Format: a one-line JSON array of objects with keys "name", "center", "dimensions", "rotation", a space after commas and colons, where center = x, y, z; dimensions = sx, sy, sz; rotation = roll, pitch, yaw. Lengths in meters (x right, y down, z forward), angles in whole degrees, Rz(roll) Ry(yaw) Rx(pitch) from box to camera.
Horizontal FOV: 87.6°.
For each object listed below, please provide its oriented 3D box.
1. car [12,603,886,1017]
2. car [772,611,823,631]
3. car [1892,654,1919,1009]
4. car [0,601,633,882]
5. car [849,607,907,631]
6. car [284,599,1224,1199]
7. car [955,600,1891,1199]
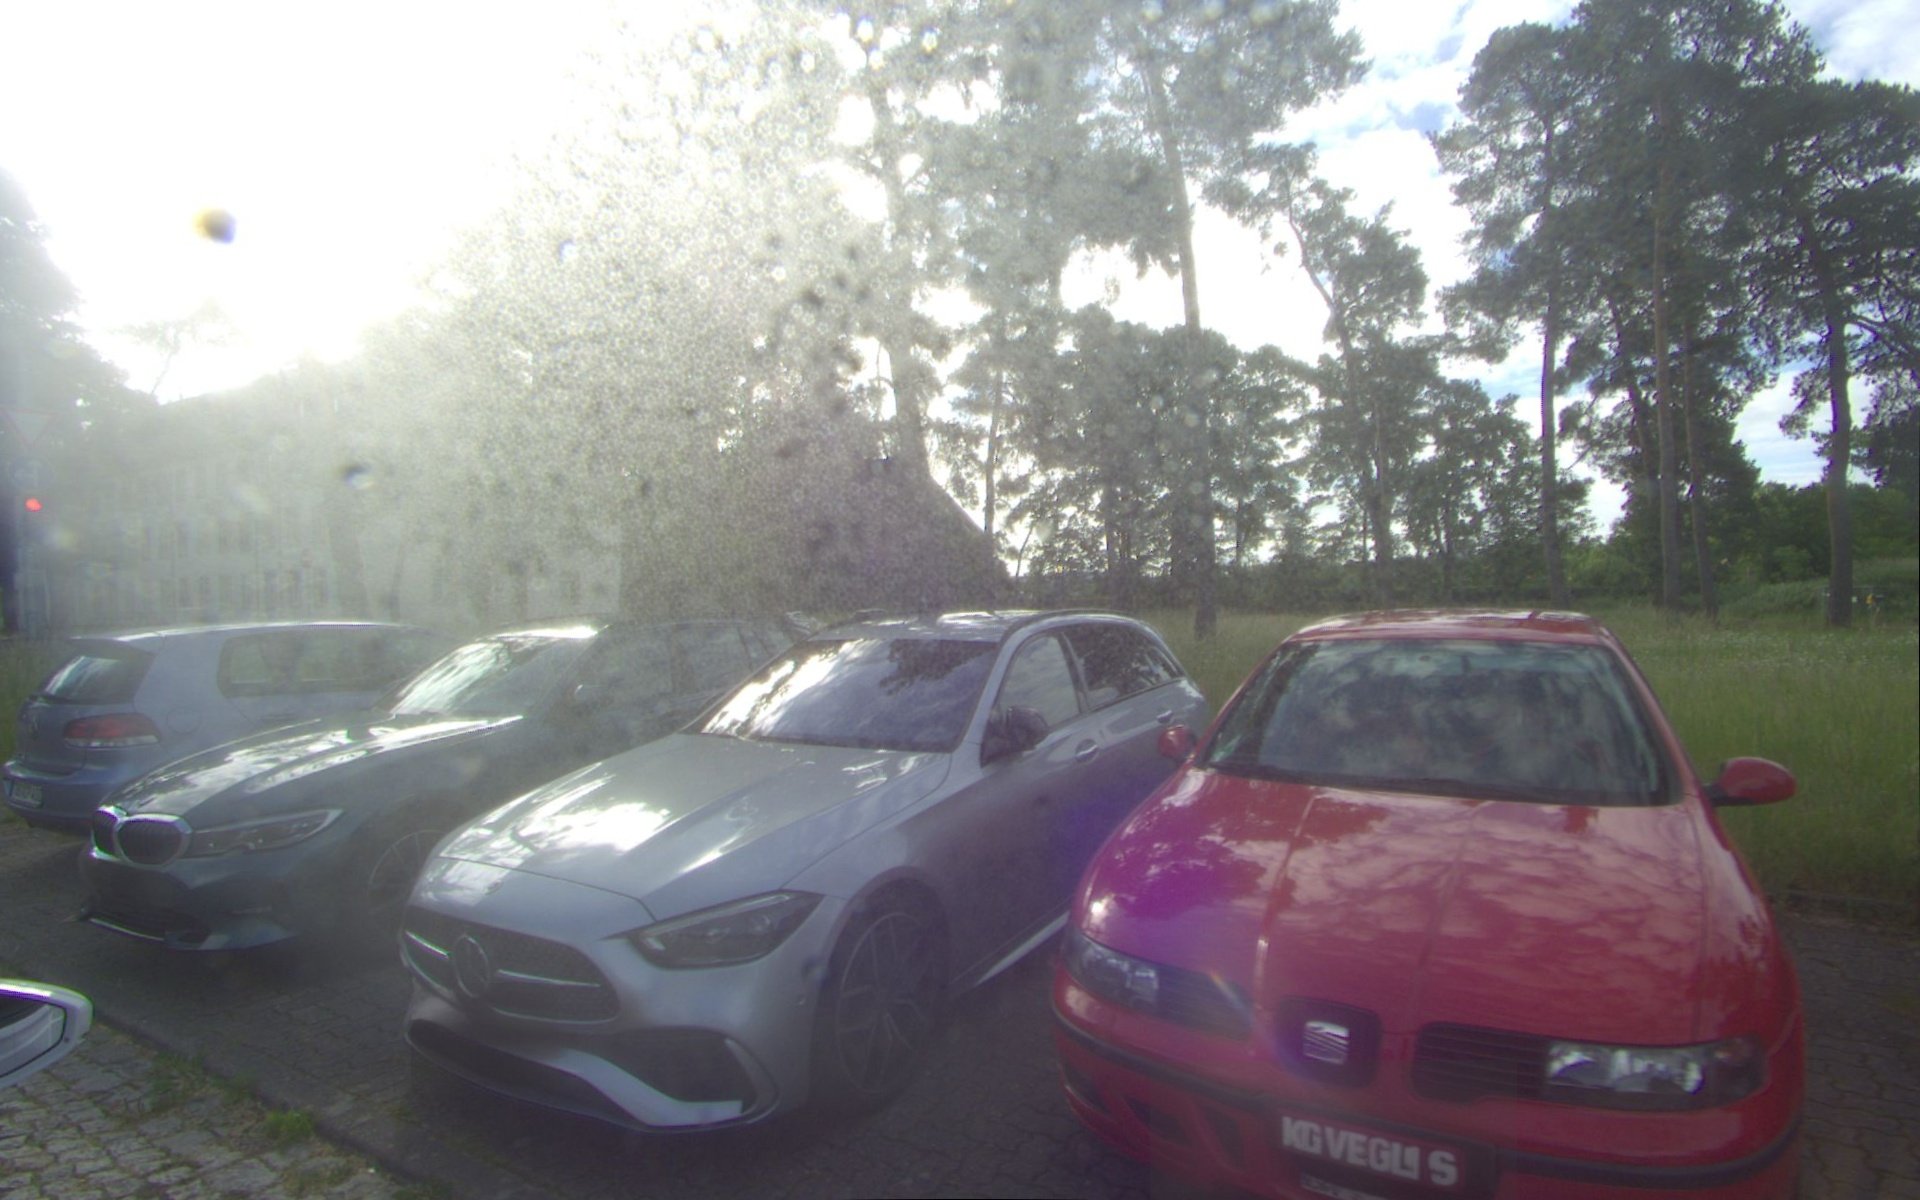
[{"name": "car", "center": [-2.440, 0.792, 6.089], "dimensions": [1.780, 1.503, 4.507], "rotation": [-1, 0, 29]}, {"name": "car", "center": [-12.075, 1.577, 74.783], "dimensions": [1.541, 1.415, 3.981], "rotation": [-1, -3, 32]}, {"name": "car", "center": [3.389, 0.845, 2.062], "dimensions": [1.586, 1.303, 3.537], "rotation": [-2, -1, 34]}, {"name": "car", "center": [-4.556, 0.790, 7.556], "dimensions": [1.618, 1.490, 3.835], "rotation": [-1, 1, 31]}, {"name": "car", "center": [-5.710, 1.308, 69.403], "dimensions": [3.923, 1.622, 1.999], "rotation": [-1, 0, -5]}, {"name": "car", "center": [-0.273, 0.757, 4.567], "dimensions": [1.741, 1.448, 4.317], "rotation": [-1, 1, 31]}, {"name": "car", "center": [1.803, 0.735, 3.715], "dimensions": [1.695, 1.442, 4.098], "rotation": [-1, 0, 33]}]
